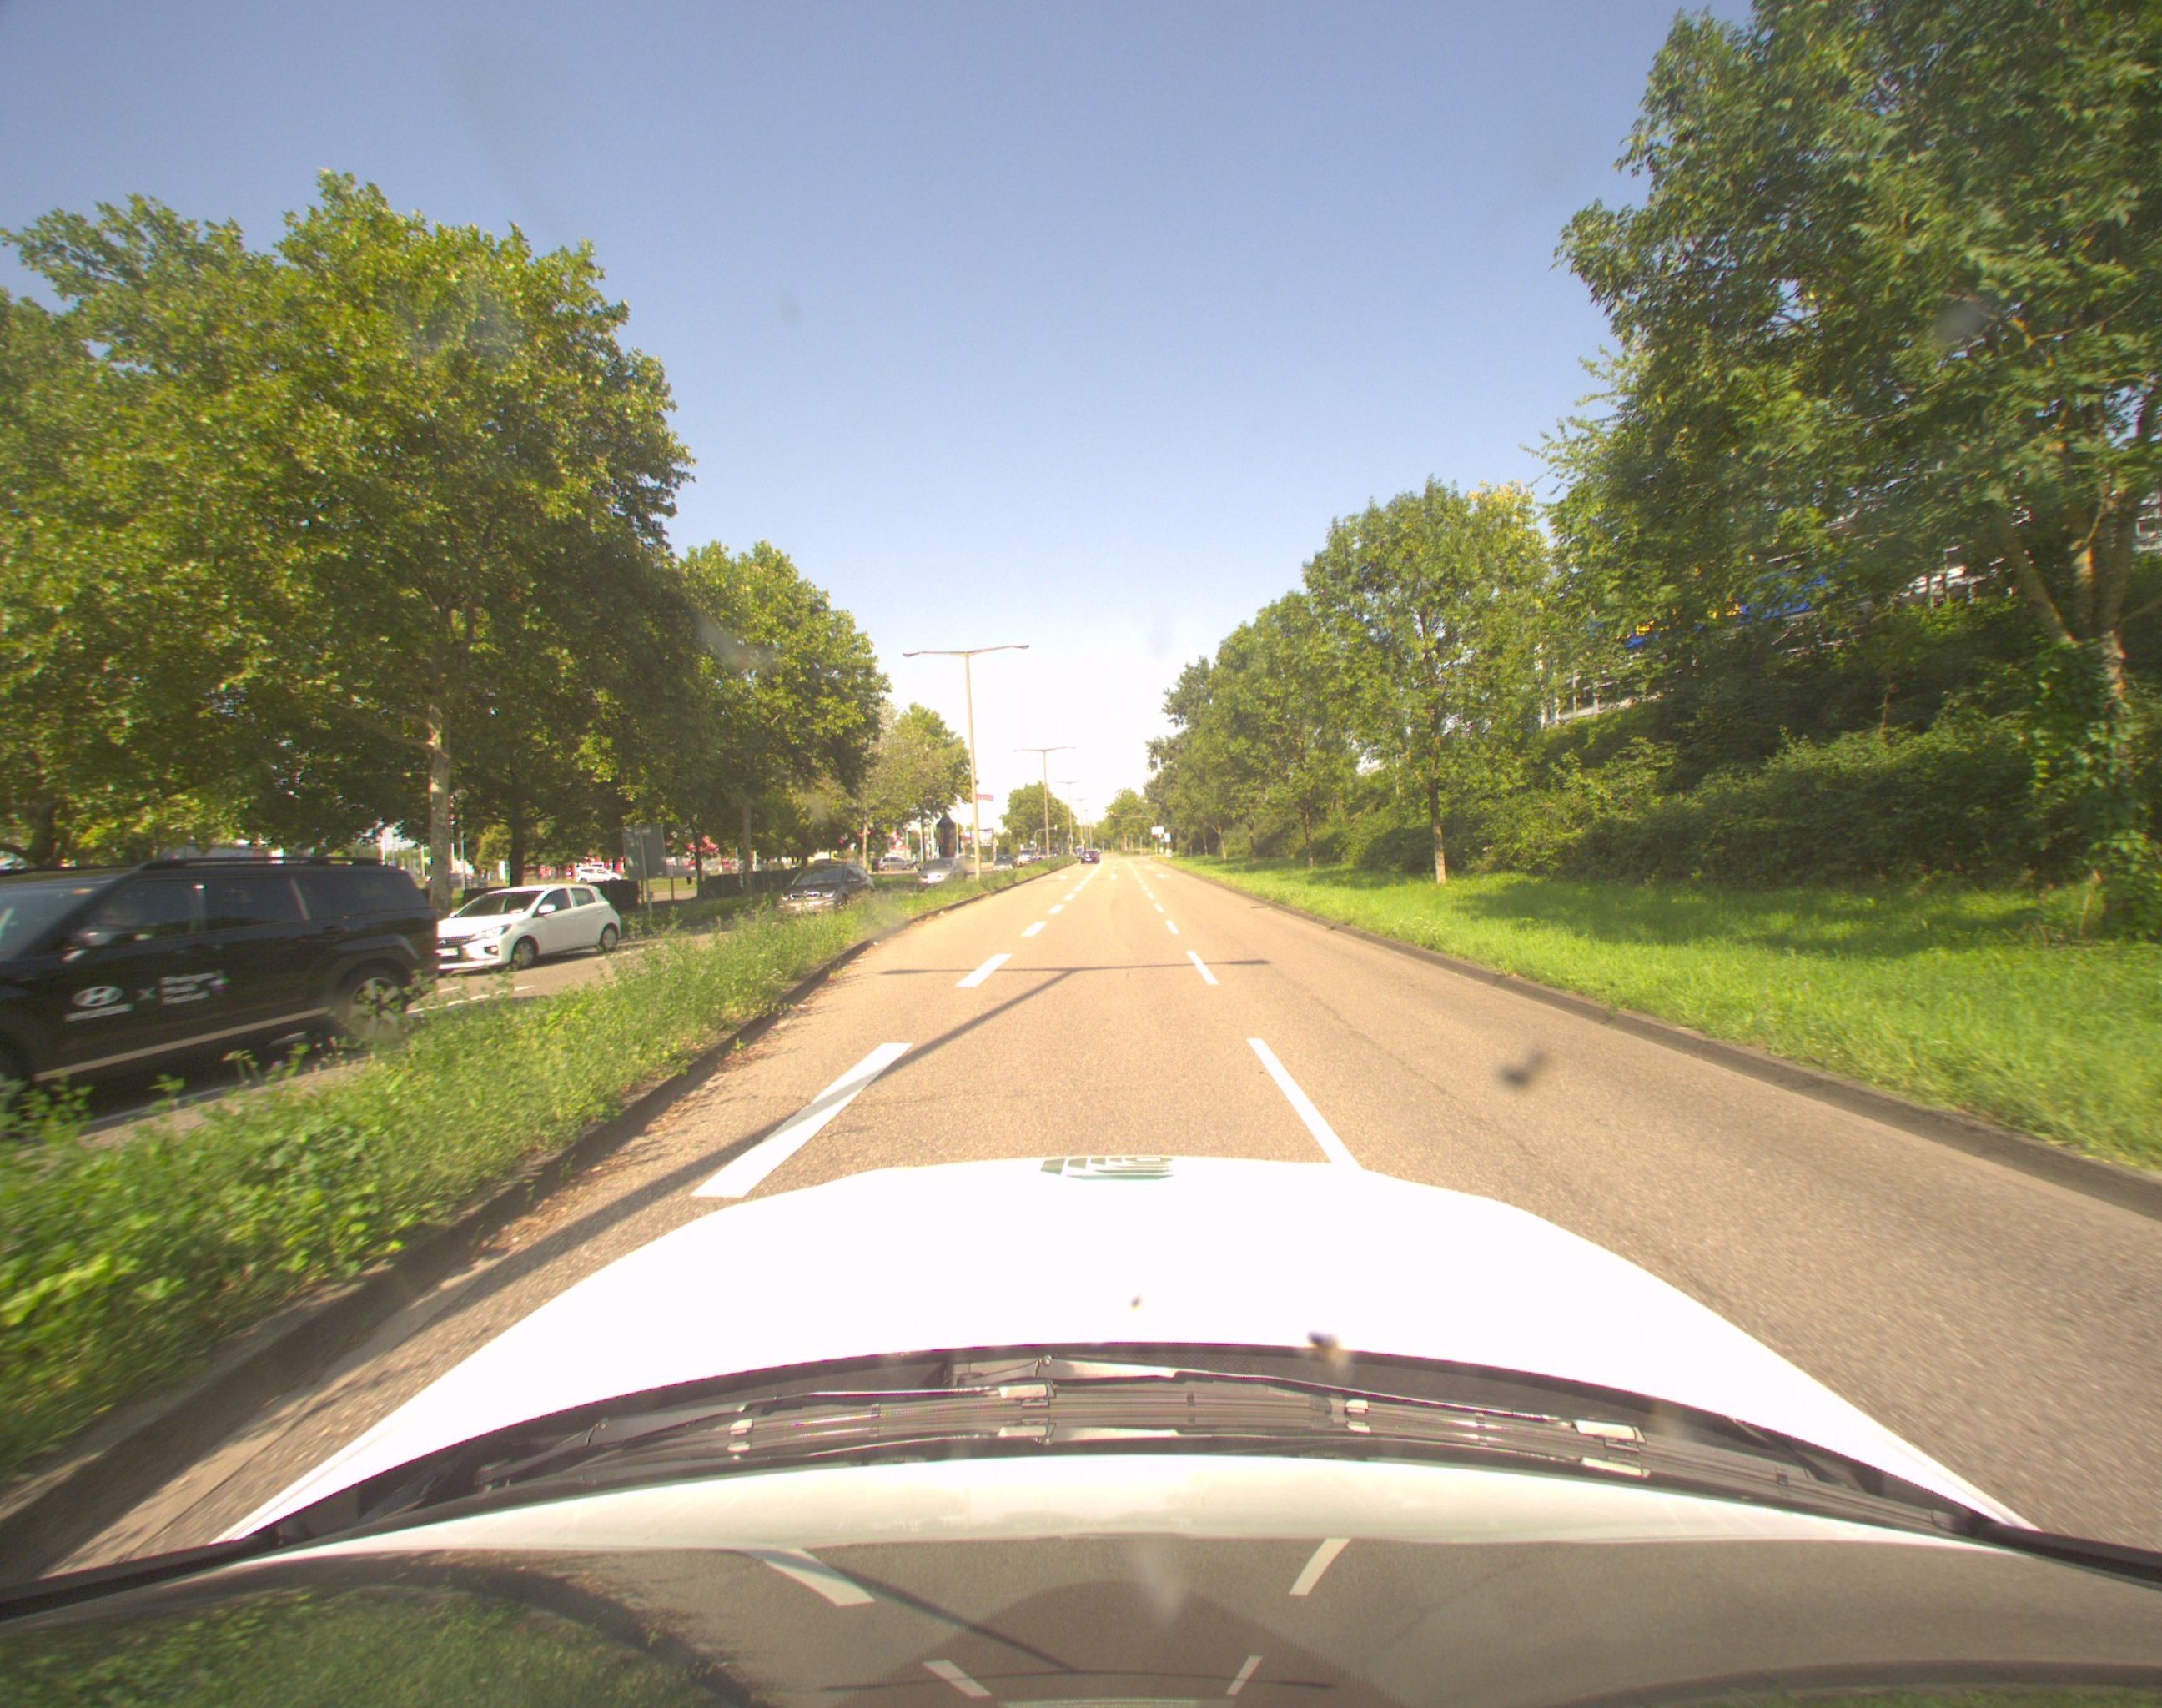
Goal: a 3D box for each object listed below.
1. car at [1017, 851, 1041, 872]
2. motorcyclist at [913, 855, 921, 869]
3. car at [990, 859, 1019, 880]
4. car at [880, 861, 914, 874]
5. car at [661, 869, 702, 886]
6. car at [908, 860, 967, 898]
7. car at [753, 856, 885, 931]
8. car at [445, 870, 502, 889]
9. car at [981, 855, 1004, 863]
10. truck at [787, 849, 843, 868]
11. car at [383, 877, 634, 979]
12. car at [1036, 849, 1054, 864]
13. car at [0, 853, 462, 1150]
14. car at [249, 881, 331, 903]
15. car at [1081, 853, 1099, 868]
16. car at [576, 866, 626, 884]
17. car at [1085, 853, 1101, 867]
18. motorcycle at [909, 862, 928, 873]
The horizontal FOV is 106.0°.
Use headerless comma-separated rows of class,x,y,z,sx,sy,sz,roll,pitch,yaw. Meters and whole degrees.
car,-5.376,0.714,84.560,1.925,2.027,4.568,-3,0,2
motorcyclist,-19.258,0.904,95.414,0.686,1.572,0.676,-1,0,-34
car,-5.664,1.136,60.741,1.670,1.486,3.494,-2,0,2
car,-21.924,1.585,96.979,3.717,1.443,1.451,-1,0,-34
car,-40.696,2.366,82.887,3.506,1.580,1.708,-3,0,-34
car,-6.766,1.145,38.829,1.872,1.594,4.111,-3,0,2
car,-7.128,1.008,22.700,1.985,1.759,4.310,-4,0,3
car,-55.338,2.317,74.290,4.015,1.545,1.821,-3,0,-33
car,-14.414,0.768,132.834,3.354,1.137,1.498,-3,0,10
truck,-48.230,0.814,147.836,9.050,2.957,3.477,-3,0,-34
car,-10.527,1.284,15.402,1.784,1.482,4.001,-3,0,1
car,-4.777,0.352,108.201,1.987,1.705,4.505,-7,0,1
car,-7.425,0.925,6.157,1.987,1.759,4.476,-3,0,0
car,-65.233,3.132,67.243,4.611,1.545,1.849,-1,0,-37
car,1.008,0.687,88.741,1.685,1.486,4.002,-3,0,2
car,-46.680,2.027,79.215,4.016,1.679,1.850,-1,0,-35
car,1.461,0.687,95.259,1.685,1.486,4.002,-3,0,2
motorcycle,-19.055,1.570,95.535,2.084,1.136,0.670,-2,-1,-33
